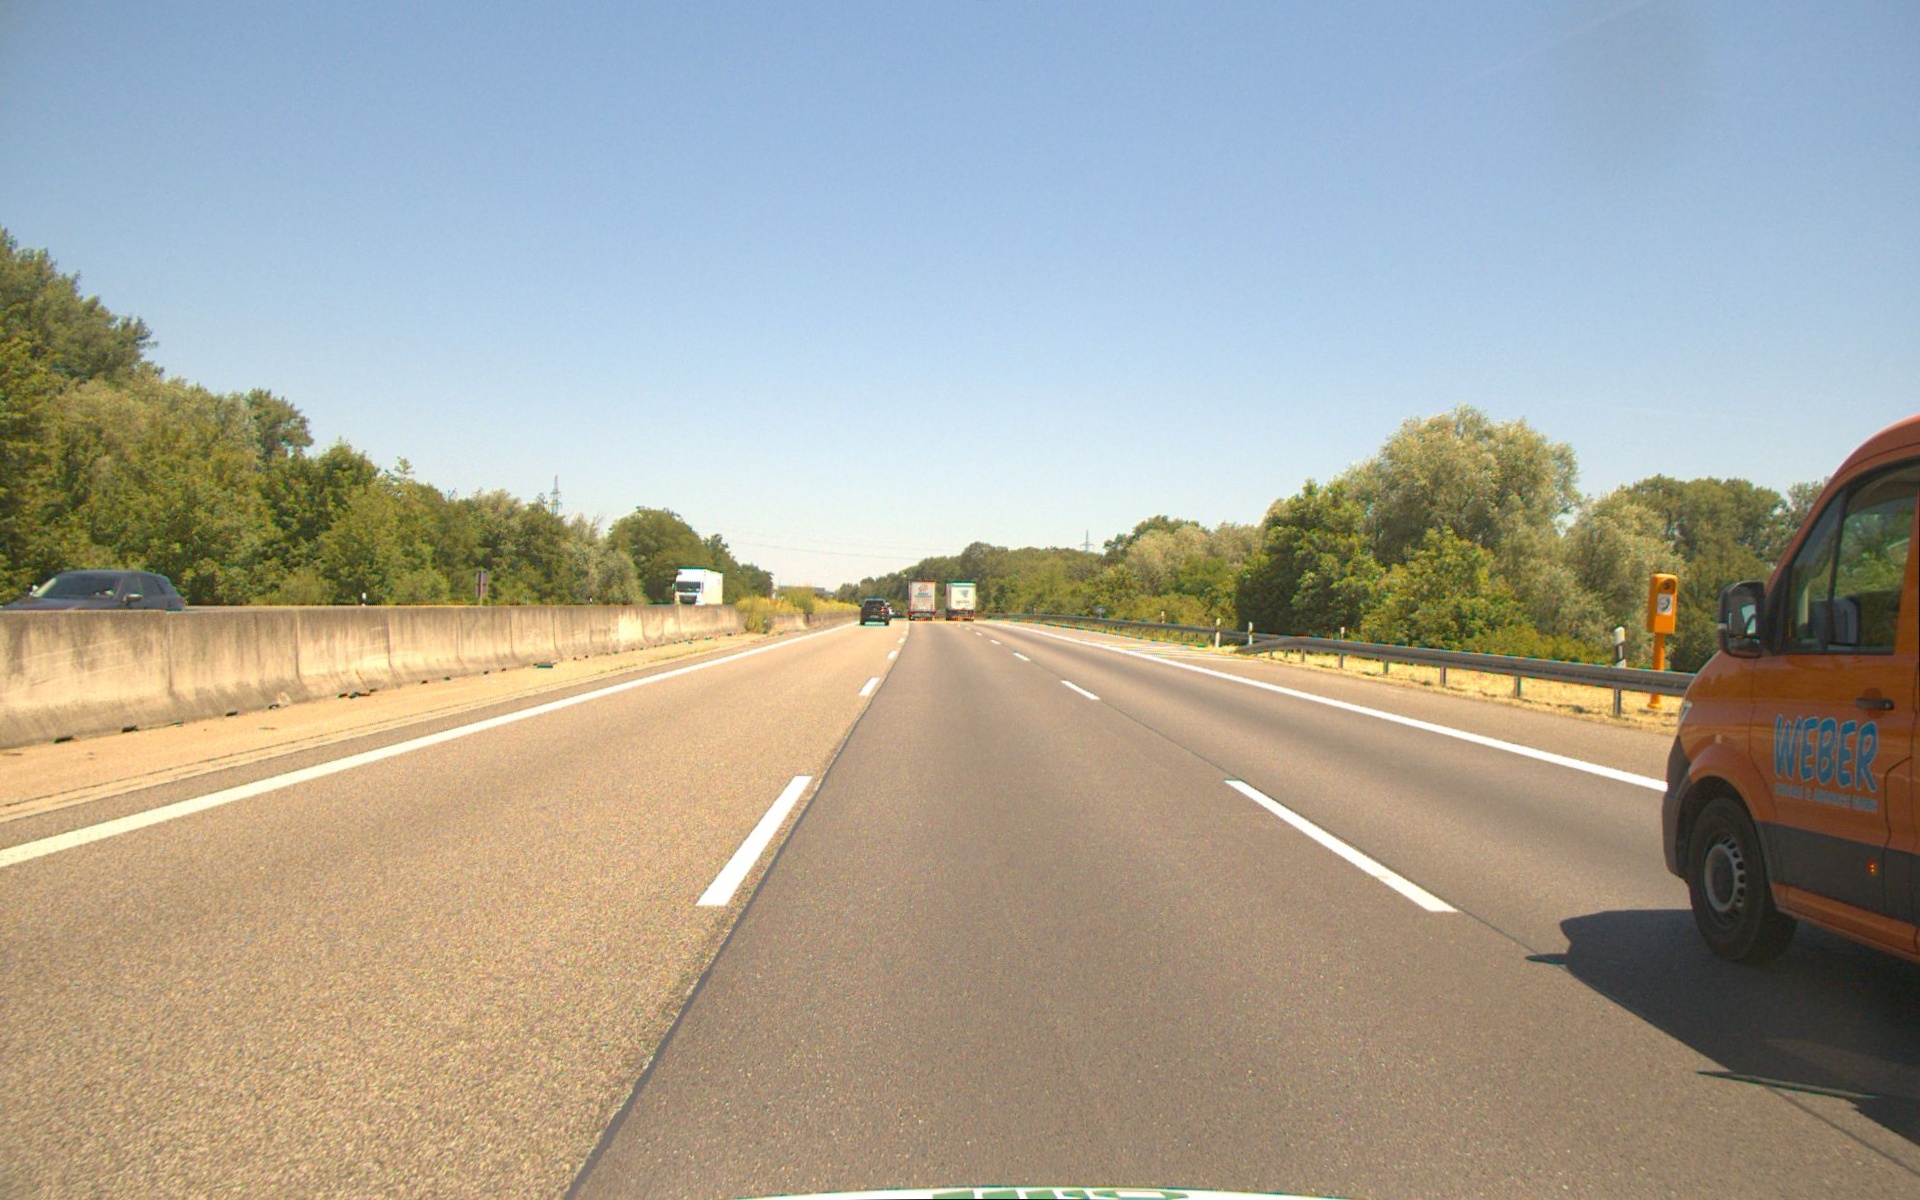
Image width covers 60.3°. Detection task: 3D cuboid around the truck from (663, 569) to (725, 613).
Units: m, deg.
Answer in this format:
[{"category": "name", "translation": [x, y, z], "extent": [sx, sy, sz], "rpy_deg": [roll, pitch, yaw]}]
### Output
[{"category": "truck", "translation": [-24.323, -0.762, 152.310], "extent": [3.526, 3.800, 17.476], "rpy_deg": [1, 0, -2]}]

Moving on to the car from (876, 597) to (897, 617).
[{"category": "car", "translation": [-7.181, 0.682, 161.613], "extent": [1.954, 1.907, 3.997], "rpy_deg": [2, 0, -4]}]

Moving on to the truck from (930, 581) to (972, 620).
[{"category": "truck", "translation": [-1.045, 0.061, 183.763], "extent": [3.263, 4.124, 10.935], "rpy_deg": [1, 0, -7]}]

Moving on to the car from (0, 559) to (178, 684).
[{"category": "car", "translation": [-15.883, 0.339, 29.468], "extent": [1.953, 2.049, 4.085], "rpy_deg": [1, 0, -1]}]

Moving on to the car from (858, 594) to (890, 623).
[{"category": "car", "translation": [-5.716, 0.557, 110.359], "extent": [1.953, 1.907, 3.999], "rpy_deg": [1, 0, -1]}]

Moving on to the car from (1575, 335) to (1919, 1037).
[{"category": "car", "translation": [4.336, 0.314, 5.237], "extent": [1.953, 2.447, 7.225], "rpy_deg": [1, 0, -1]}]

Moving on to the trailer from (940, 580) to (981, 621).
[{"category": "trailer", "translation": [0.011, 0.050, 174.600], "extent": [3.303, 4.215, 9.079], "rpy_deg": [1, 0, -6]}]

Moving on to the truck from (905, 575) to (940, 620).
[{"category": "truck", "translation": [-3.877, -0.222, 168.678], "extent": [3.165, 4.275, 8.462], "rpy_deg": [3, 0, -2]}]
